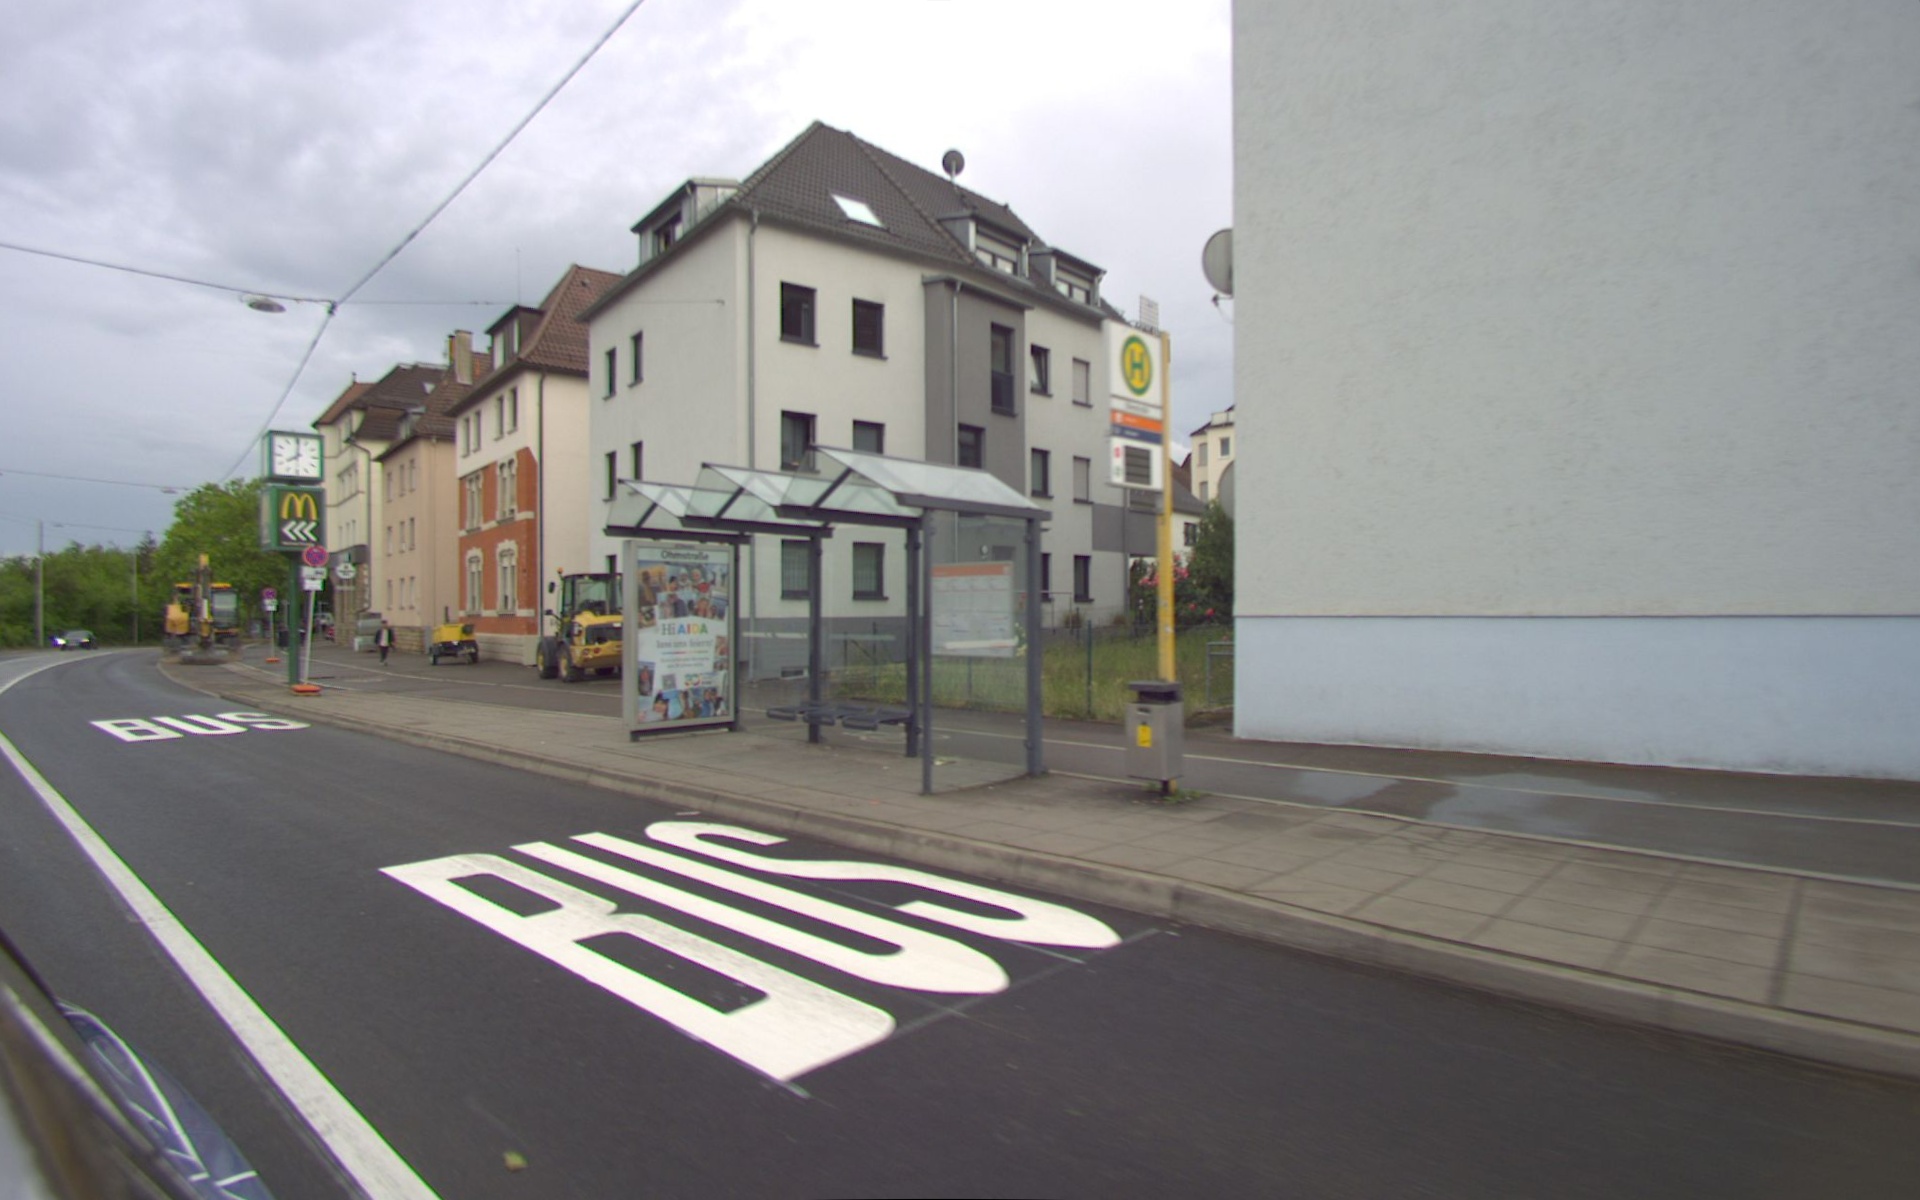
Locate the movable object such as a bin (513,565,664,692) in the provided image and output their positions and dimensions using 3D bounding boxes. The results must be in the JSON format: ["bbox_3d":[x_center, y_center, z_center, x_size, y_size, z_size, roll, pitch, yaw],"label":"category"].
[{"bbox_3d":[-9.380,0.690,25.269,2.101,2.828,4.989,-2,-1,-37],"label":"movable object such as a bin"}]

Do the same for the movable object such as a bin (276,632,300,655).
[{"bbox_3d":[-39.072,2.529,58.869,1.142,1.312,1.250,0,-2,-33],"label":"movable object such as a bin"}]

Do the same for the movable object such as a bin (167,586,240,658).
[{"bbox_3d":[-43.988,1.314,59.061,2.908,3.873,8.149,0,-2,-33],"label":"movable object such as a bin"}]

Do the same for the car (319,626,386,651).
[{"bbox_3d":[-43.966,2.772,73.291,3.936,1.677,1.915,0,-2,-38],"label":"car"}]

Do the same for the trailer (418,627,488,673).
[{"bbox_3d":[-17.156,1.650,34.147,1.307,1.409,4.003,-1,-1,-39],"label":"trailer"}]

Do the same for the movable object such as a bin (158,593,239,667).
[{"bbox_3d":[-34.179,1.349,45.380,2.787,3.136,4.642,0,-2,-39],"label":"movable object such as a bin"}]

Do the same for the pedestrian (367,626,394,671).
[{"bbox_3d":[-20.318,1.698,35.485,0.595,1.540,1.039,-1,-1,-41],"label":"pedestrian"}]

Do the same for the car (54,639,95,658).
[{"bbox_3d":[-64.574,3.507,73.867,1.580,1.312,3.723,-1,-1,-31],"label":"car"}]
